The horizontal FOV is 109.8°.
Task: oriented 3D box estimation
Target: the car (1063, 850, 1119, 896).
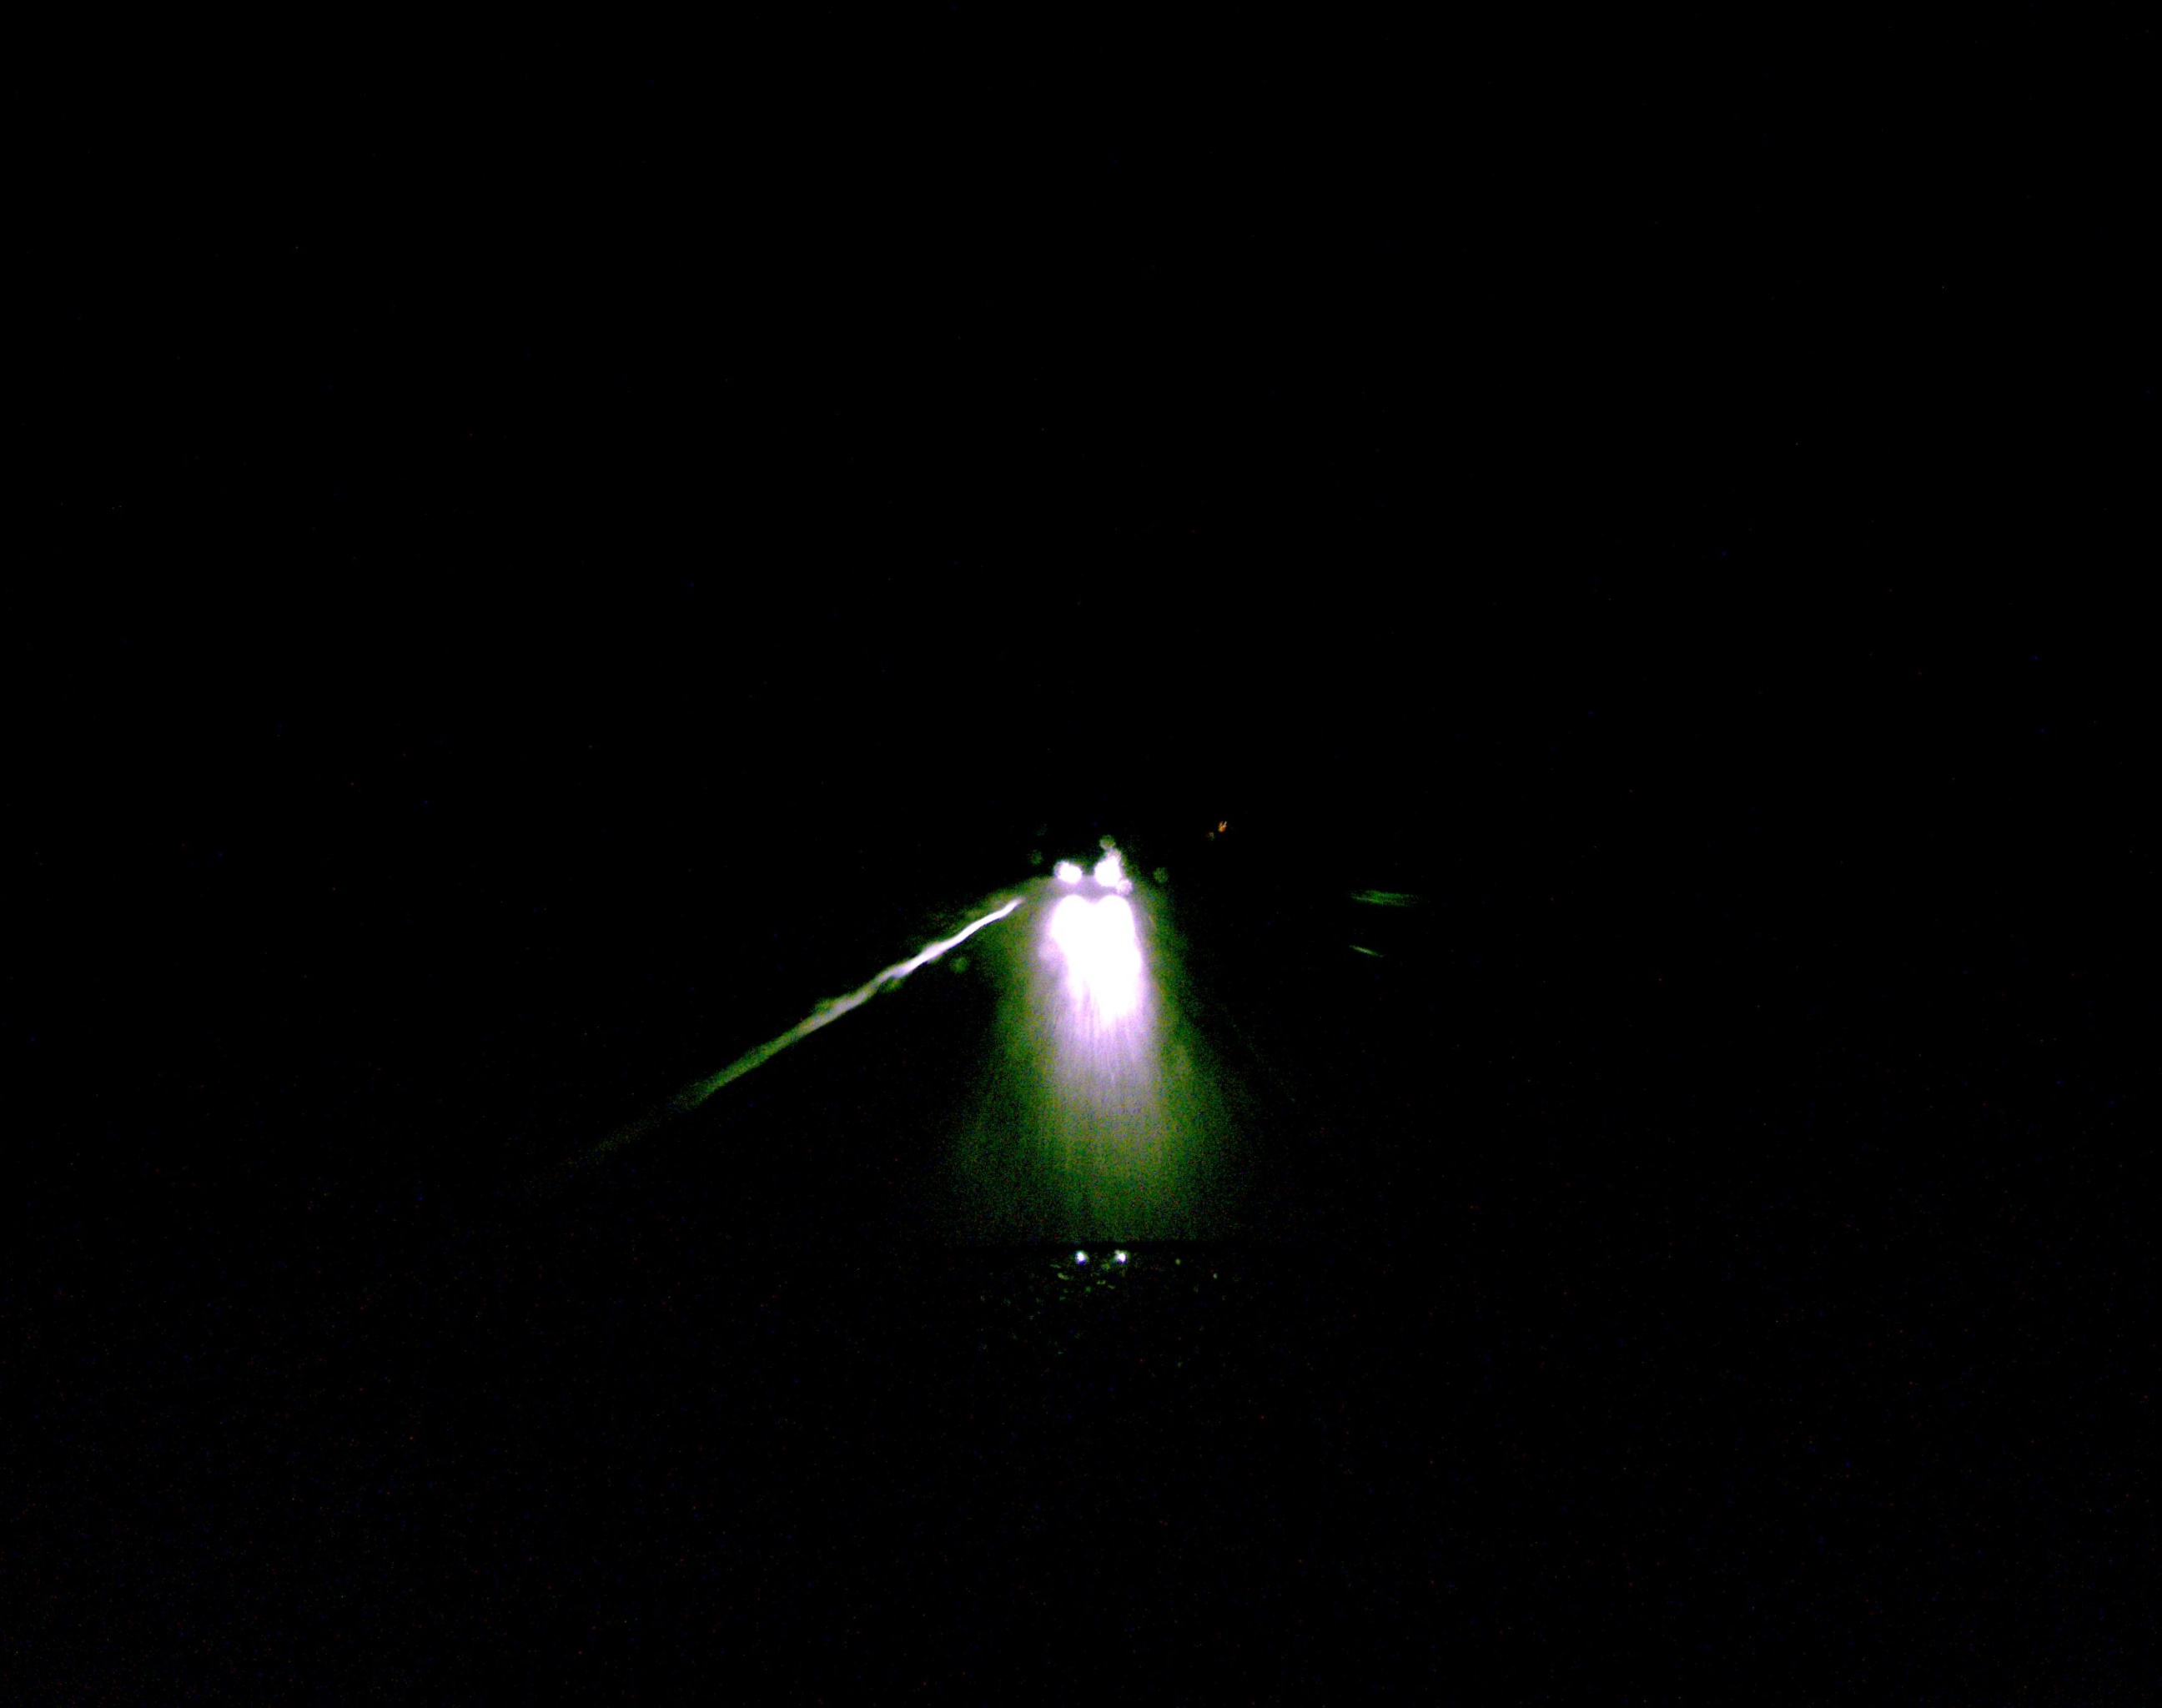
[{"bbox_3d":[0.454,0.663,29.118,1.792,1.593,4.001,0,1,5],"label":"car"}]
